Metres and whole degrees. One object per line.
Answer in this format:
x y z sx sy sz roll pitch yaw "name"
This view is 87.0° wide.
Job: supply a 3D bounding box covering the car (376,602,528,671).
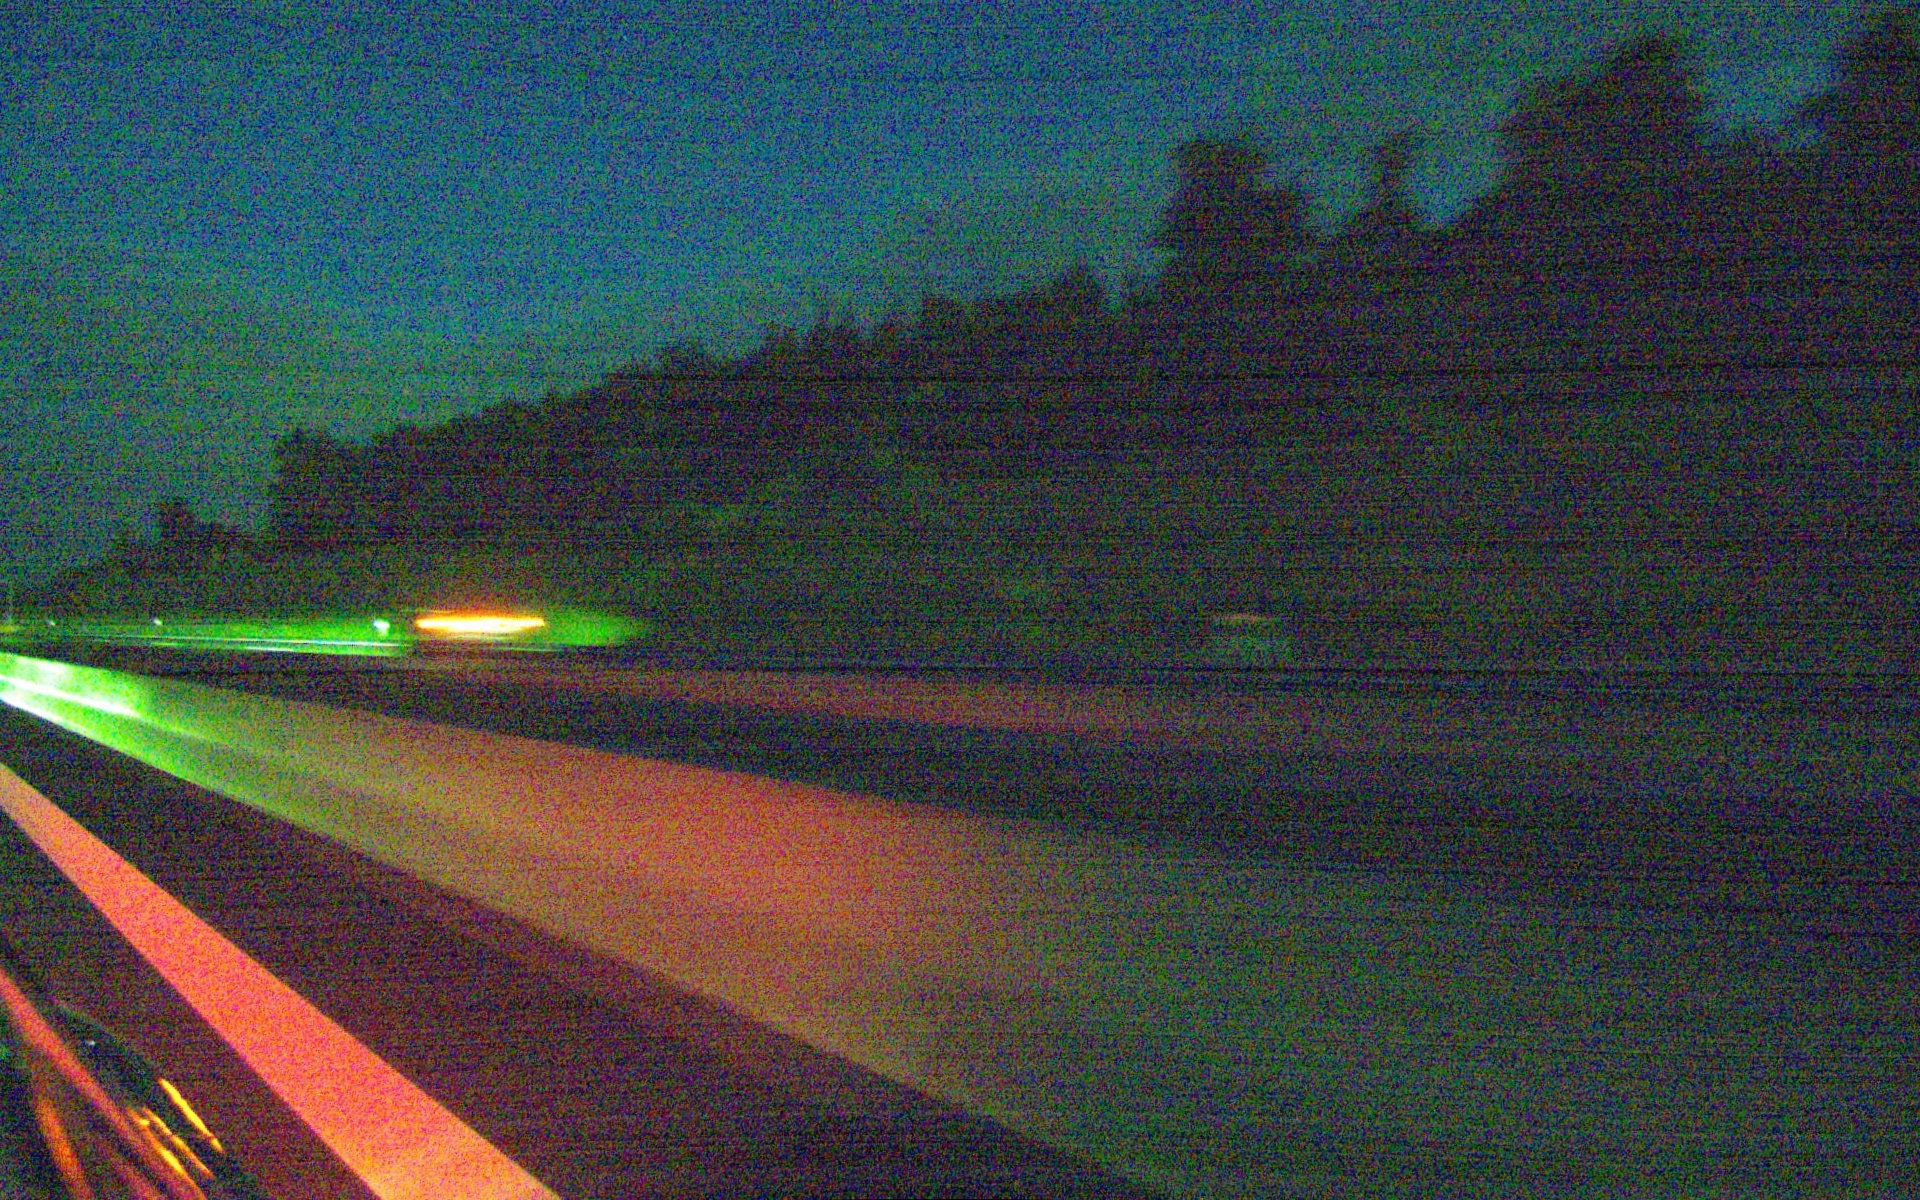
-13.142 0.909 26.071 4.451 1.573 1.913 -2 0 41 "car"
